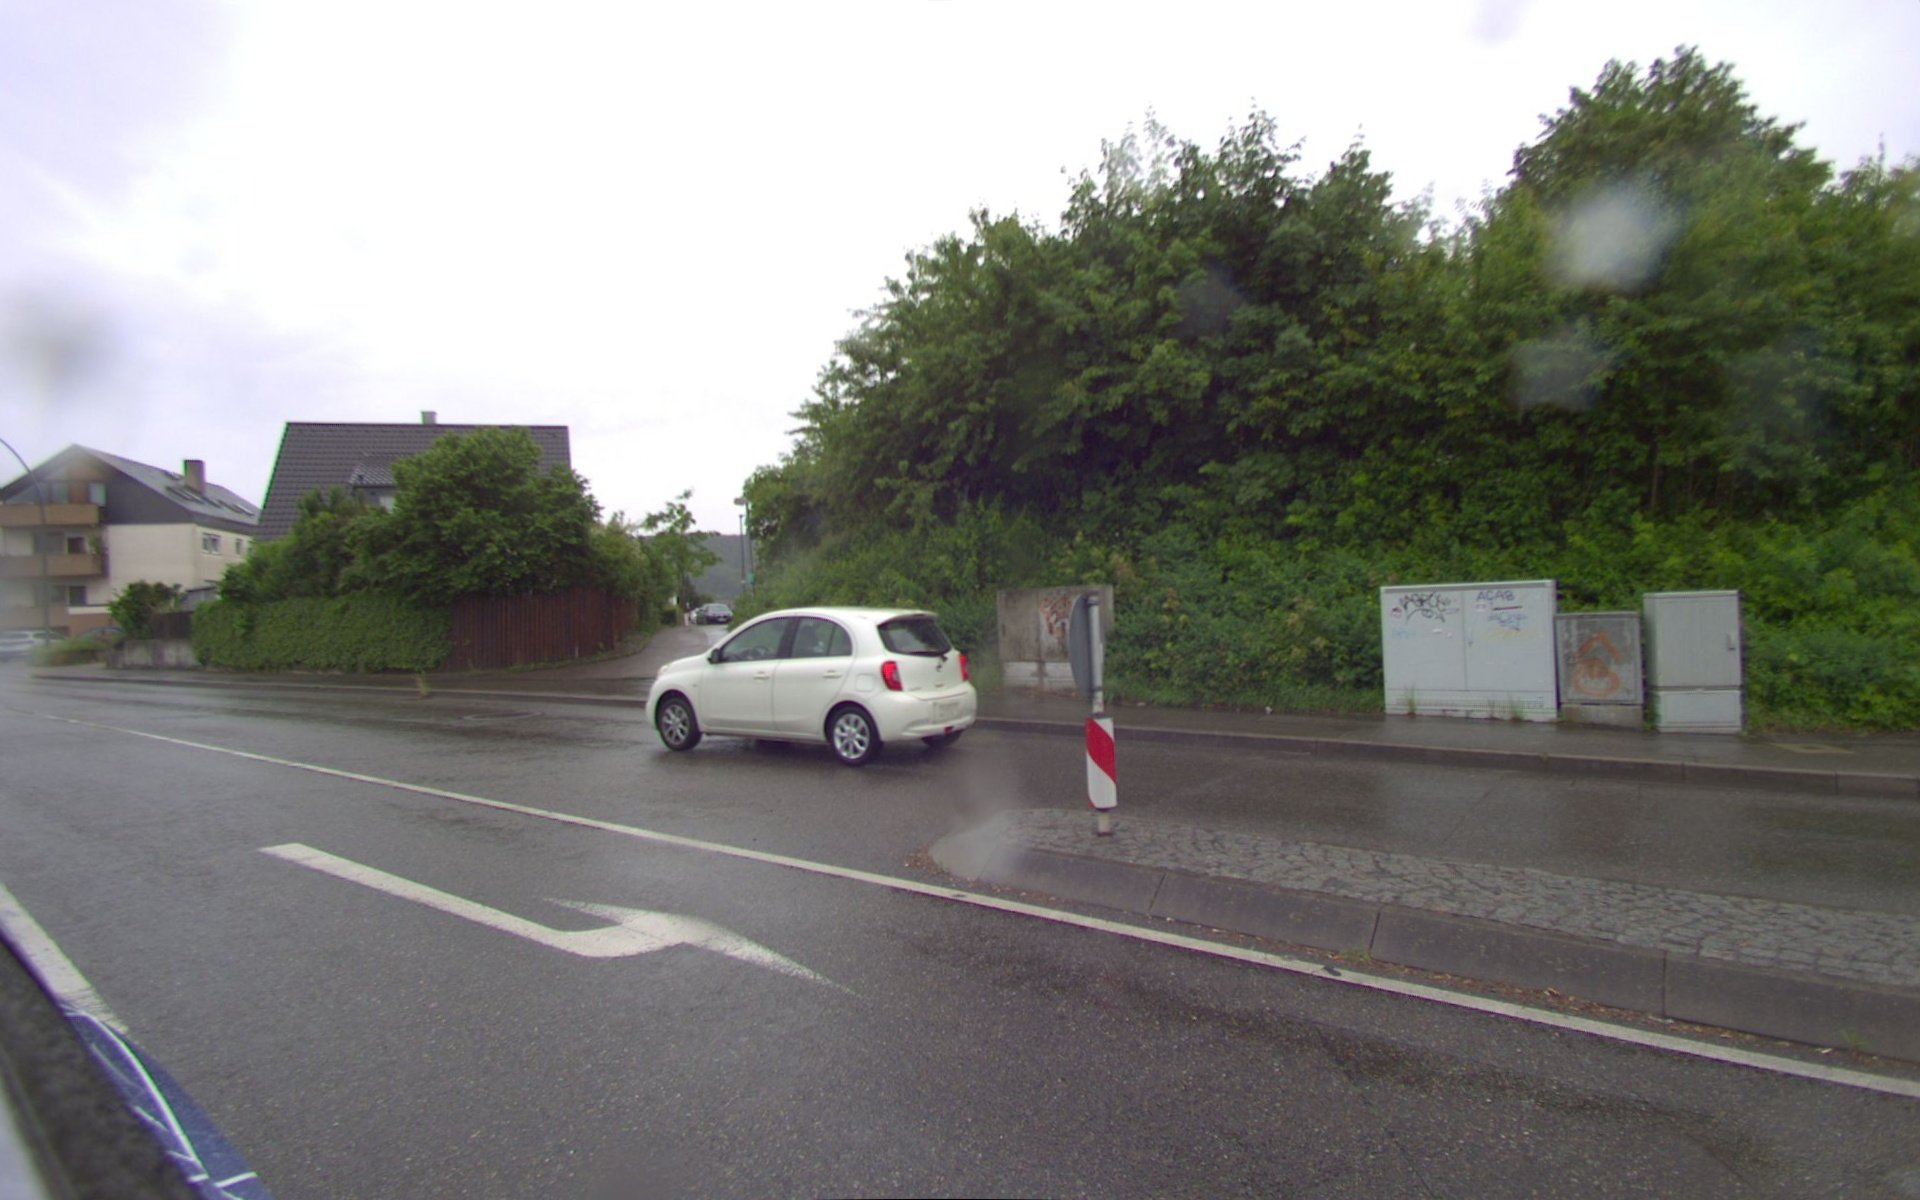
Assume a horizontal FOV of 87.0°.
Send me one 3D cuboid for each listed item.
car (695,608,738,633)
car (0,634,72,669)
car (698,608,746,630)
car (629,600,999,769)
[{"bbox_3d":[-15.905,1.348,65.947,1.867,1.494,4.013,-1,-1,-26],"label":"car"},{"bbox_3d":[-46.708,2.544,50.768,1.638,1.558,4.011,-1,0,-15],"label":"car"},{"bbox_3d":[-17.304,1.352,73.440,1.967,1.497,4.009,-1,0,-37],"label":"car"},{"bbox_3d":[-1.626,0.809,10.787,3.811,1.516,1.607,-2,-2,33],"label":"car"}]
